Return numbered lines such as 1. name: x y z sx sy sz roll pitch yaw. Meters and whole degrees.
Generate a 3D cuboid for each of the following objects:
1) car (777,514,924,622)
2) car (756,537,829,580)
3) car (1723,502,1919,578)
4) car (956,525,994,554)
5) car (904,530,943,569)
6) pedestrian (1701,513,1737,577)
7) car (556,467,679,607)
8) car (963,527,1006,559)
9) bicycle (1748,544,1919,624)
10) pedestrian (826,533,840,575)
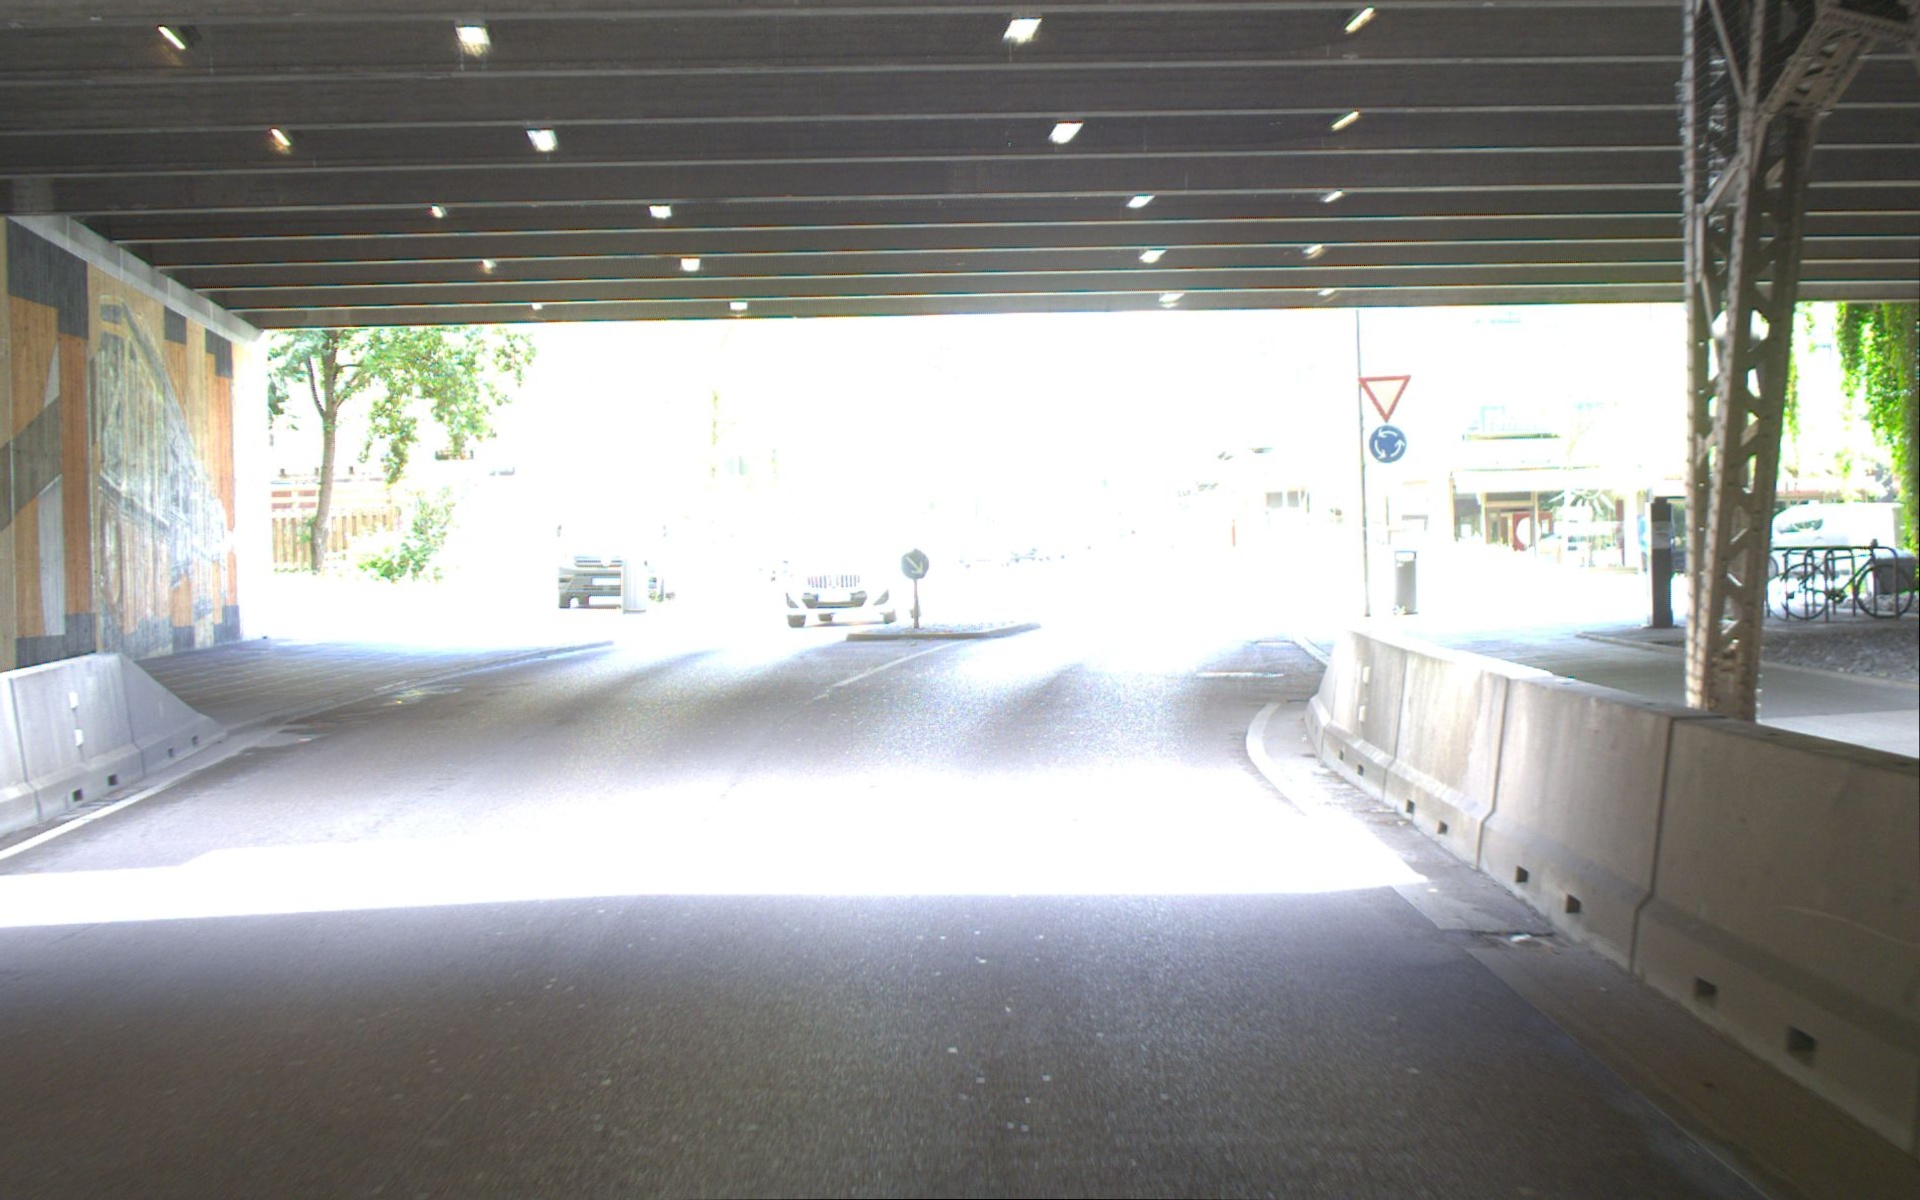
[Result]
1. car: -1.757 -0.560 56.472 1.825 1.648 4.213 -2 1 6
2. car: -5.074 -1.272 104.769 1.710 1.241 4.411 0 1 4
3. car: 20.645 -1.438 81.775 4.678 1.682 2.000 -1 1 7
4. car: 0.718 -2.938 166.143 1.709 1.349 4.000 0 1 -1
5. car: -1.649 -2.289 155.174 1.709 1.706 4.000 0 1 -1
6. pedestrian: 19.894 -1.440 90.080 0.695 1.669 0.617 -1 1 -21
7. car: -6.651 -1.239 67.280 1.967 2.598 5.931 0 1 -2
8. car: 1.043 -2.463 148.450 1.709 1.349 4.000 0 1 -1
9. bicycle: 10.690 -0.198 42.059 1.945 0.901 0.507 -2 0 -1
10. pedestrian: -5.183 -1.875 140.325 0.551 1.680 0.516 0 1 0
